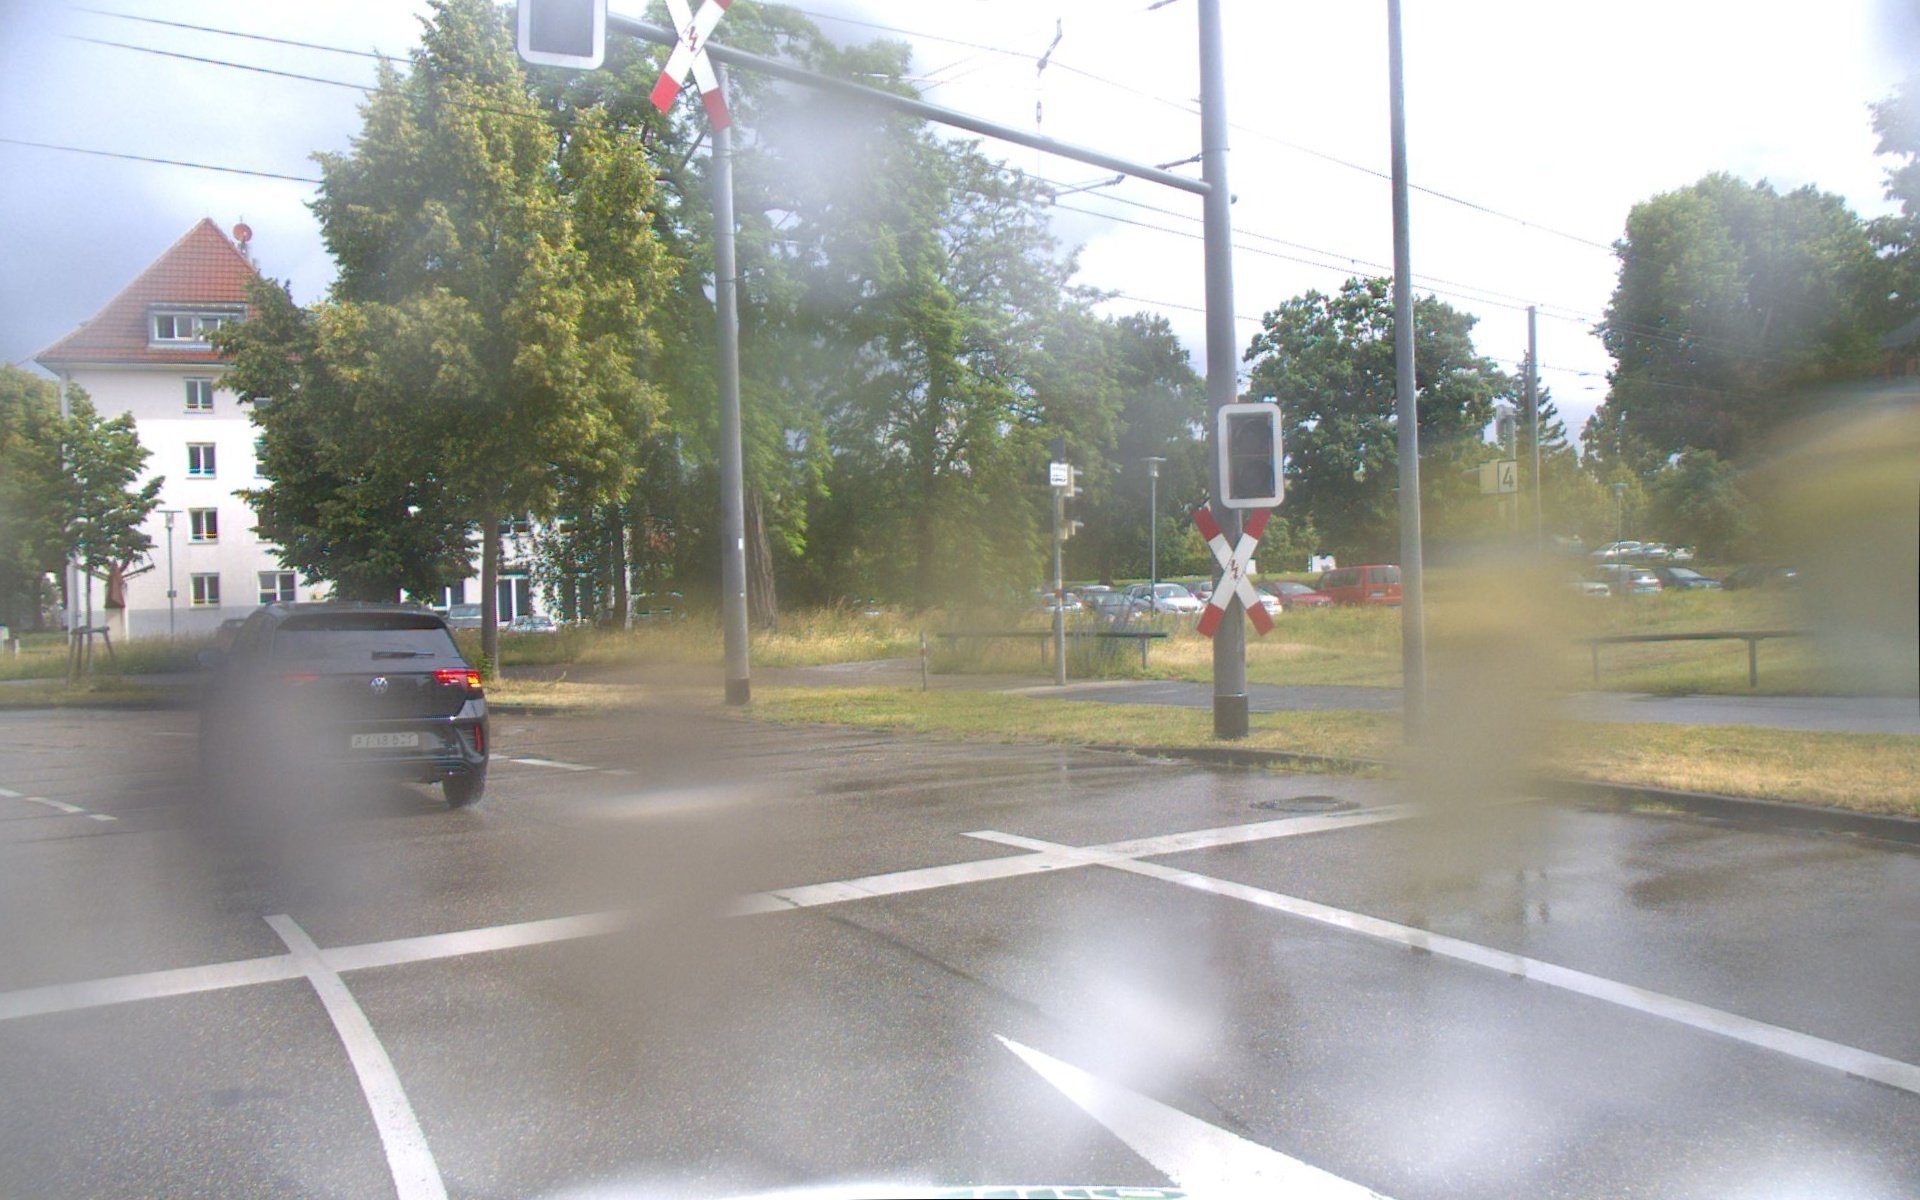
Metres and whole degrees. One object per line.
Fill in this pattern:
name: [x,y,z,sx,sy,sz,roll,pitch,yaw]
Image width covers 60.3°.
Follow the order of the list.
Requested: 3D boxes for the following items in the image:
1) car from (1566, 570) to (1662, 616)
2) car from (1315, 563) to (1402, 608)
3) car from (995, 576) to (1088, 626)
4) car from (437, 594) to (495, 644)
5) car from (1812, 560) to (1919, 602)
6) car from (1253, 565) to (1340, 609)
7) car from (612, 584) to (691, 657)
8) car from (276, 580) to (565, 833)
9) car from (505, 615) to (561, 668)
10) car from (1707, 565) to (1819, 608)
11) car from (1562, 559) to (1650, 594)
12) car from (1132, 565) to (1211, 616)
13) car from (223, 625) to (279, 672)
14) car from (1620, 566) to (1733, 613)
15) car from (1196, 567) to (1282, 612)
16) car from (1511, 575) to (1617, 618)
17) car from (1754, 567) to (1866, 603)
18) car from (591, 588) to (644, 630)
car: [25.545,-0.268,64.729,1.522,1.689,3.610,-2,0,-18]
car: [14.528,-0.510,60.541,1.616,1.536,3.638,-2,0,-13]
car: [2.722,0.058,56.218,1.816,1.587,3.958,-2,0,-18]
car: [-18.446,0.666,61.695,1.819,1.579,4.083,-2,3,-19]
car: [37.630,-0.768,68.591,1.816,1.587,3.958,-2,0,-18]
car: [12.145,-0.472,59.844,1.613,1.487,3.595,-2,0,-16]
car: [-9.925,0.603,52.903,2.071,2.093,5.142,-3,1,-14]
car: [-4.475,0.734,13.565,1.870,1.645,3.975,-3,1,-21]
car: [-13.326,1.253,51.549,1.577,1.536,3.605,-2,0,-15]
car: [32.477,-0.525,66.993,1.816,1.587,3.958,-2,0,-18]
car: [31.044,-1.104,79.594,1.766,1.554,3.979,-2,0,-18]
car: [7.461,-0.318,58.714,1.519,1.688,3.636,-2,0,-14]
car: [-25.468,1.714,59.466,1.647,1.508,3.716,-2,1,-21]
car: [28.307,-0.380,65.471,1.962,1.744,3.981,-2,0,-17]
car: [9.876,-0.354,58.789,1.613,1.487,3.595,-2,0,-16]
car: [23.326,-0.134,64.046,1.766,1.554,3.979,-2,0,-18]
car: [34.939,-0.608,68.073,1.816,1.331,3.958,-2,0,-18]
car: [-13.183,0.323,63.531,1.632,1.368,3.565,-2,3,-17]
